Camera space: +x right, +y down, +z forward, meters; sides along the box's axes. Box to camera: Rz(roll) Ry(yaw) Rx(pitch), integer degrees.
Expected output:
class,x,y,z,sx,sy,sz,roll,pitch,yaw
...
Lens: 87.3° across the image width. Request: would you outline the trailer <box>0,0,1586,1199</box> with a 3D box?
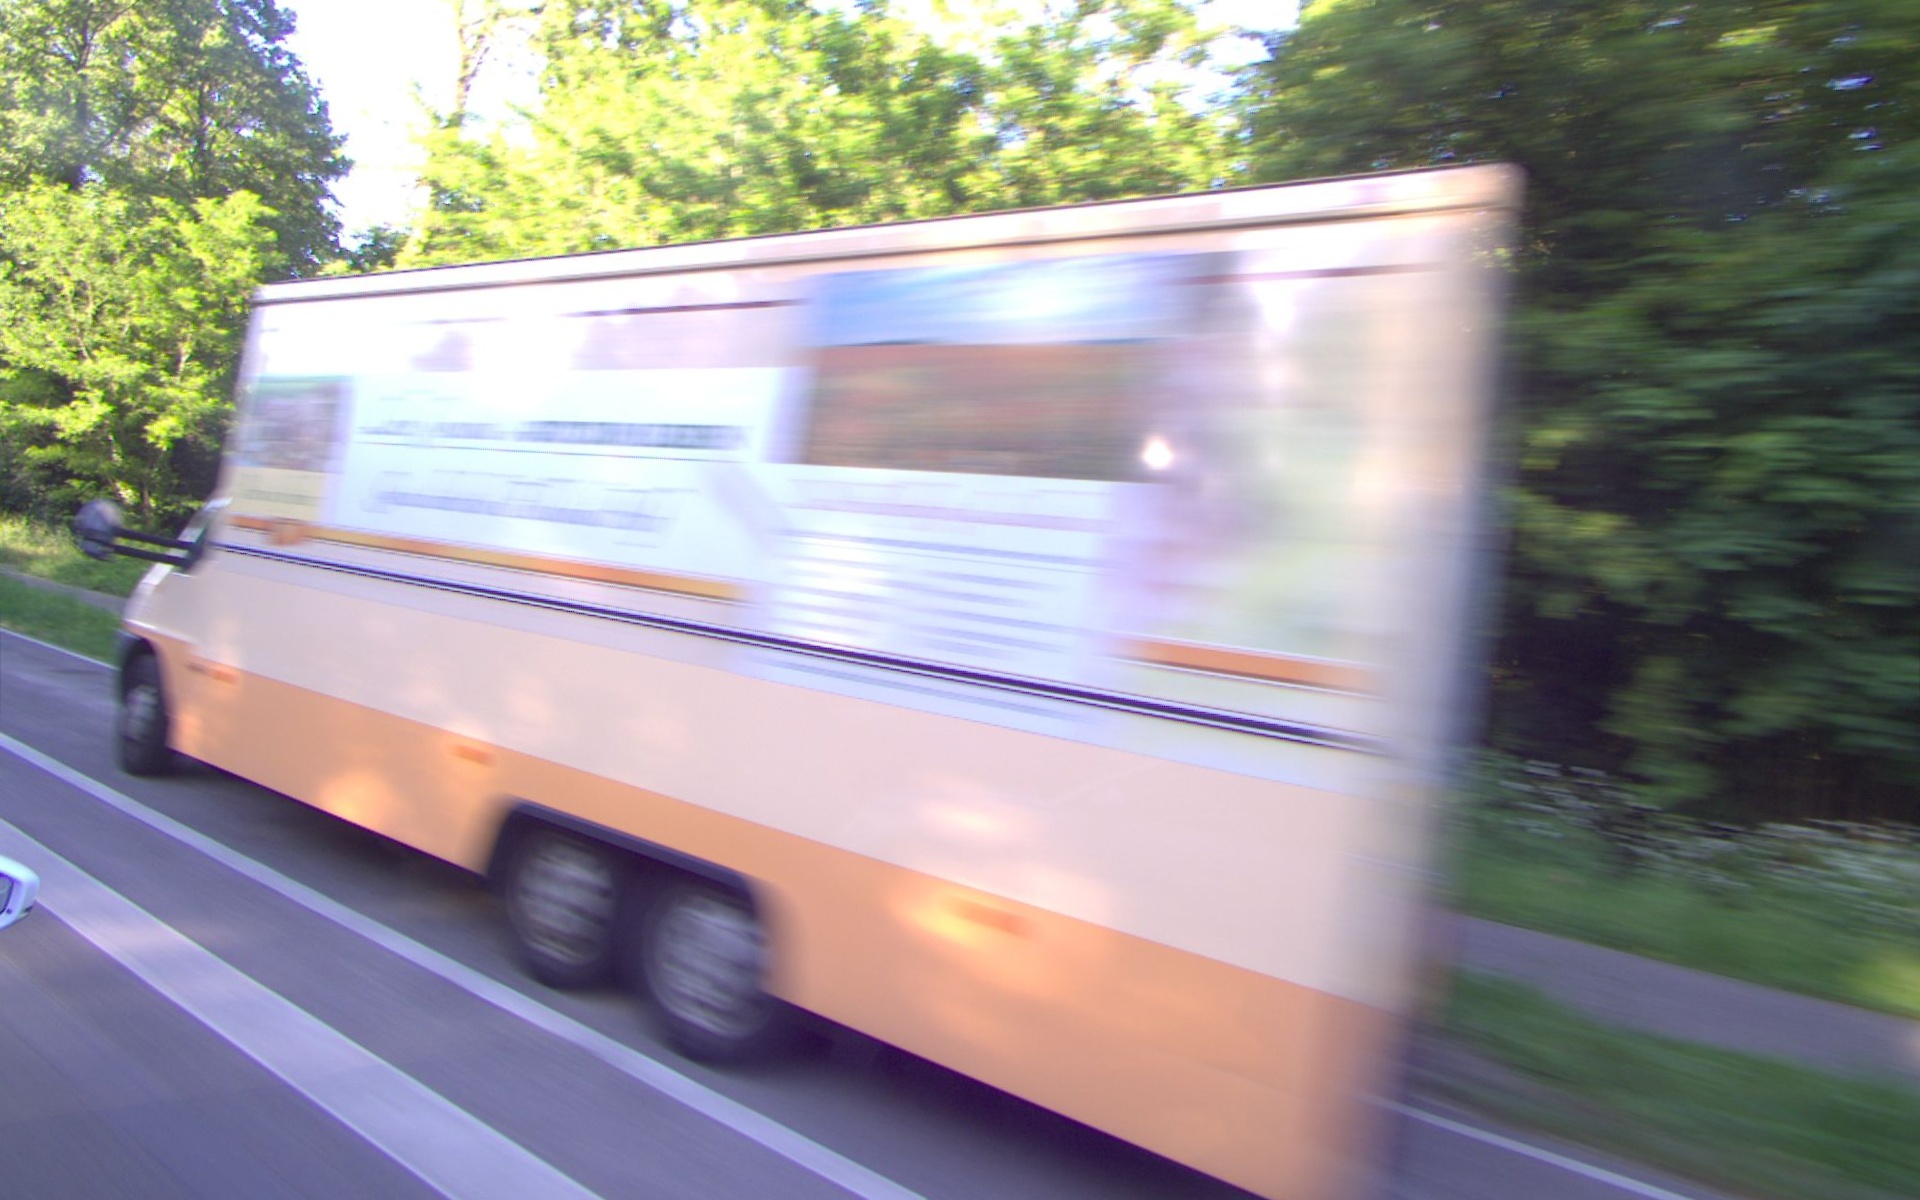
class,x,y,z,sx,sy,sz,roll,pitch,yaw
trailer,-2.318,-0.098,5.796,9.718,2.872,2.929,6,-3,31
